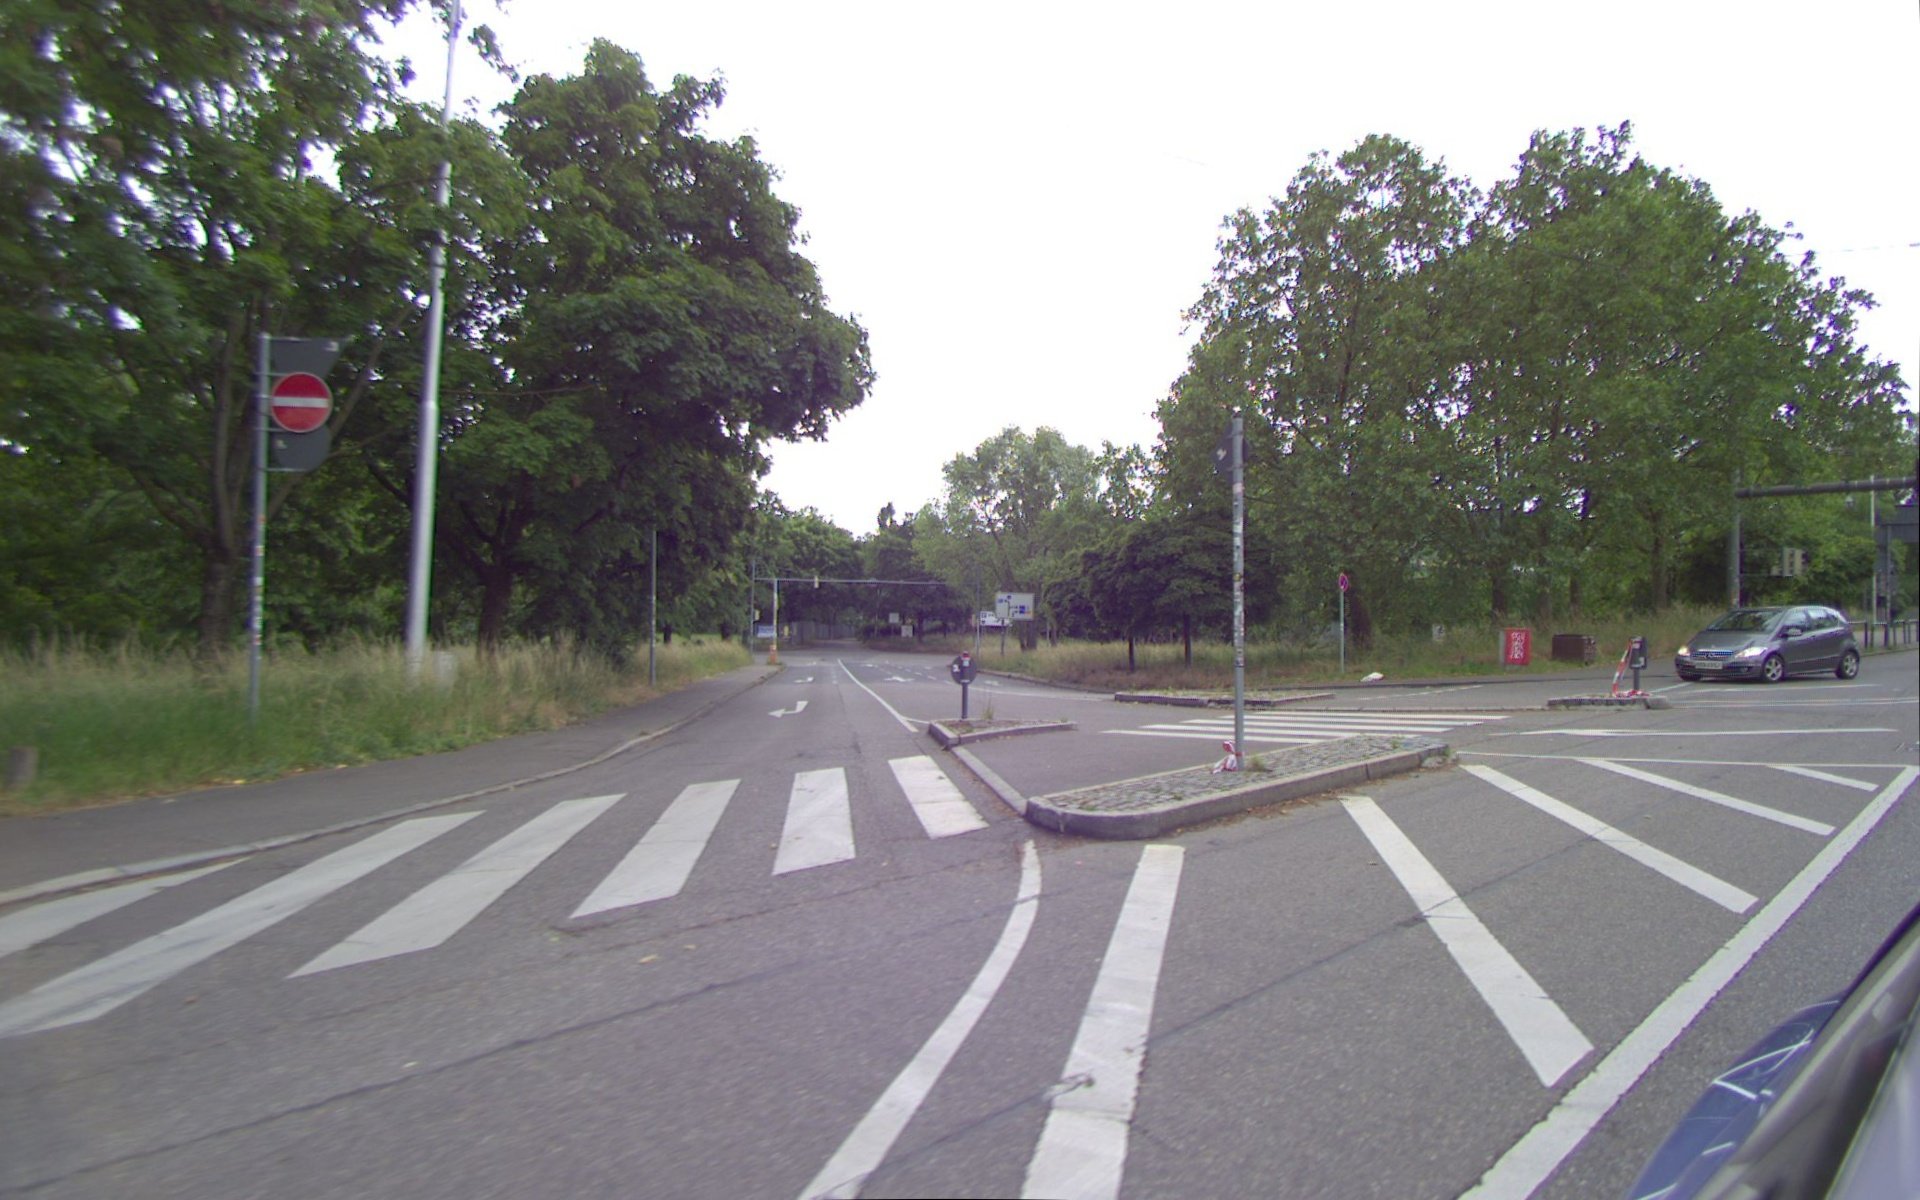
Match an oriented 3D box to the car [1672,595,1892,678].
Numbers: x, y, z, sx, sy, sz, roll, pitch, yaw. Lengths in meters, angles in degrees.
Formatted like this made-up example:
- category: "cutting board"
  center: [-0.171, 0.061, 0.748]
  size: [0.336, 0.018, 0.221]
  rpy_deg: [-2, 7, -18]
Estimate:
- category: "car"
  center: [17.371, 0.749, 21.424]
  size: [3.949, 1.637, 1.835]
  rpy_deg: [1, -1, -20]
